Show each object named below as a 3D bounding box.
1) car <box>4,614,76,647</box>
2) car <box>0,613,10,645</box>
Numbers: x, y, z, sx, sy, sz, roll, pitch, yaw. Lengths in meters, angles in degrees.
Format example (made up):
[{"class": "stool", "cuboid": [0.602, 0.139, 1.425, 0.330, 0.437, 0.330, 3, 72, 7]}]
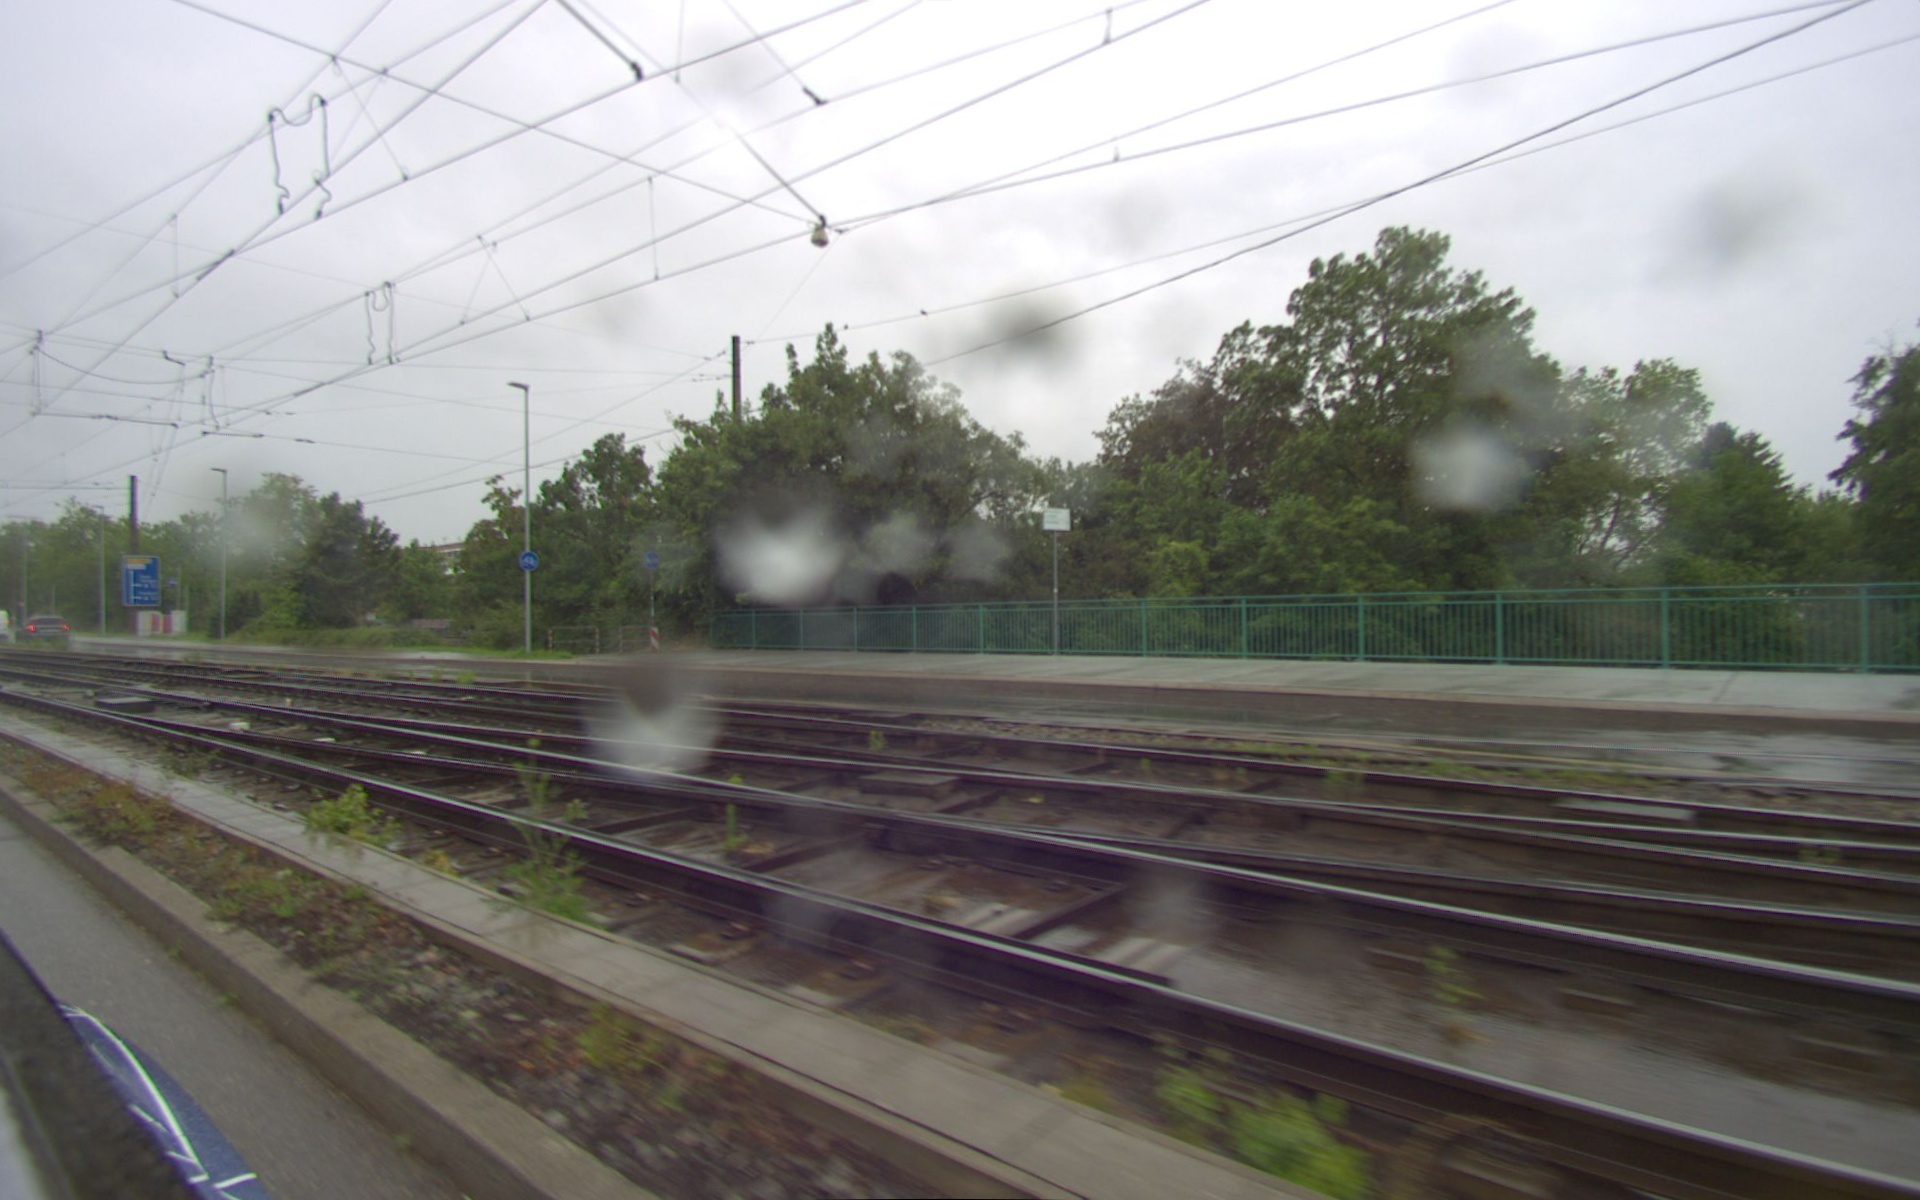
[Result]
[{"class": "car", "cuboid": [-50.129, 1.660, 55.125, 5.364, 1.661, 1.975, -1, 1, 38]}, {"class": "car", "cuboid": [-65.407, 1.983, 67.664, 5.021, 2.059, 1.975, -1, 1, 38]}]
